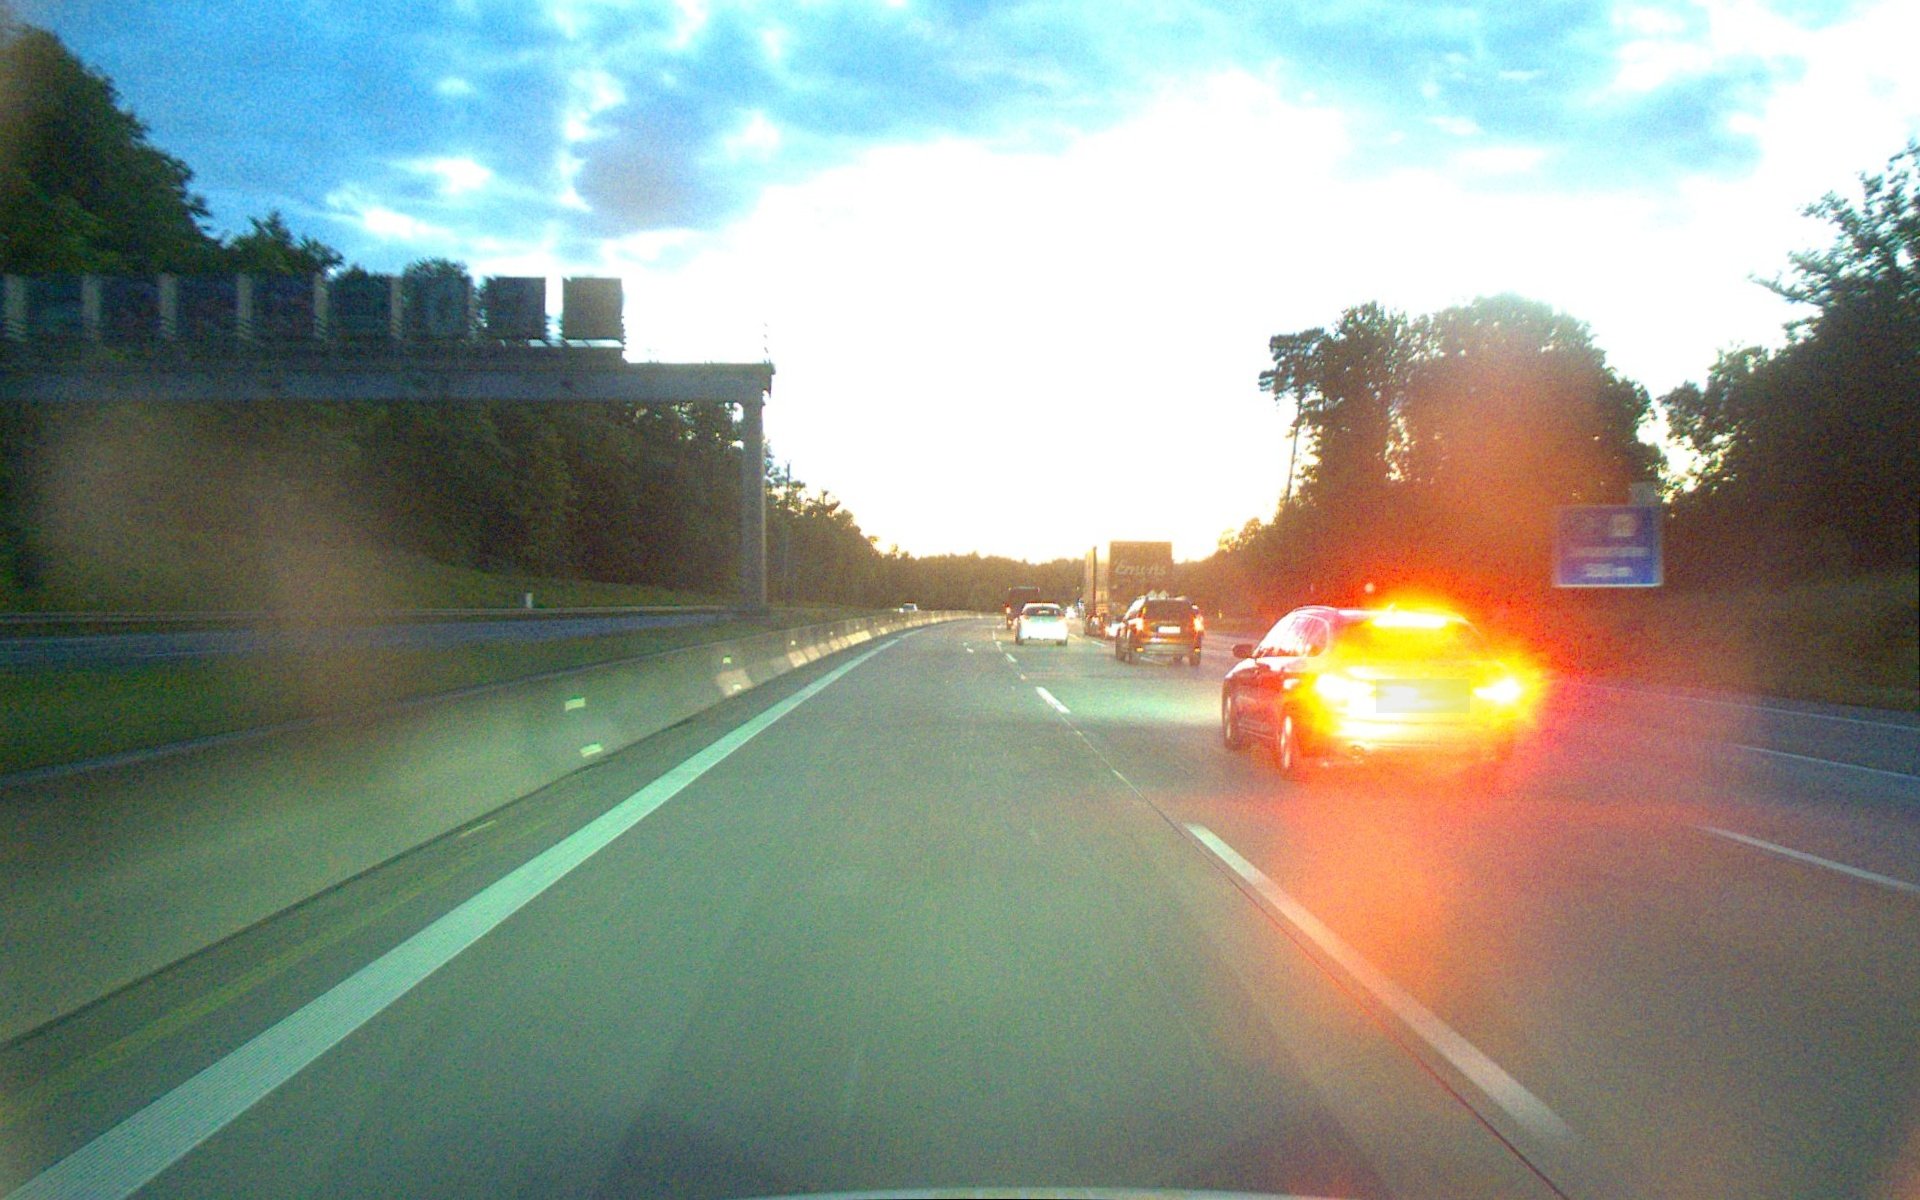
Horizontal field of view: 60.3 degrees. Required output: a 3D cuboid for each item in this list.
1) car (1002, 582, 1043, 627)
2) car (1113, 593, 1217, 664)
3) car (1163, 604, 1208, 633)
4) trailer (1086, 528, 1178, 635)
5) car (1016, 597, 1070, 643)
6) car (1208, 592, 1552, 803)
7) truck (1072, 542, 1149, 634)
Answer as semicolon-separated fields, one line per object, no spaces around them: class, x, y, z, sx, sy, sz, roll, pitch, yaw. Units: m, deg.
car;3.586;0.284;93.610;2.120;2.461;5.566;1;-1;4
car;5.099;0.677;41.777;1.864;1.672;5.050;1;0;-2
car;12.042;0.987;88.528;1.821;1.467;4.111;0;-1;0
trailer;7.176;-0.644;70.343;2.847;4.172;10.357;1;-1;1
car;2.904;0.682;58.167;1.820;1.467;3.722;1;1;3
car;3.671;0.749;15.523;1.870;1.564;5.231;0;1;0
truck;7.254;-0.475;80.897;2.825;4.172;10.831;1;-1;1
